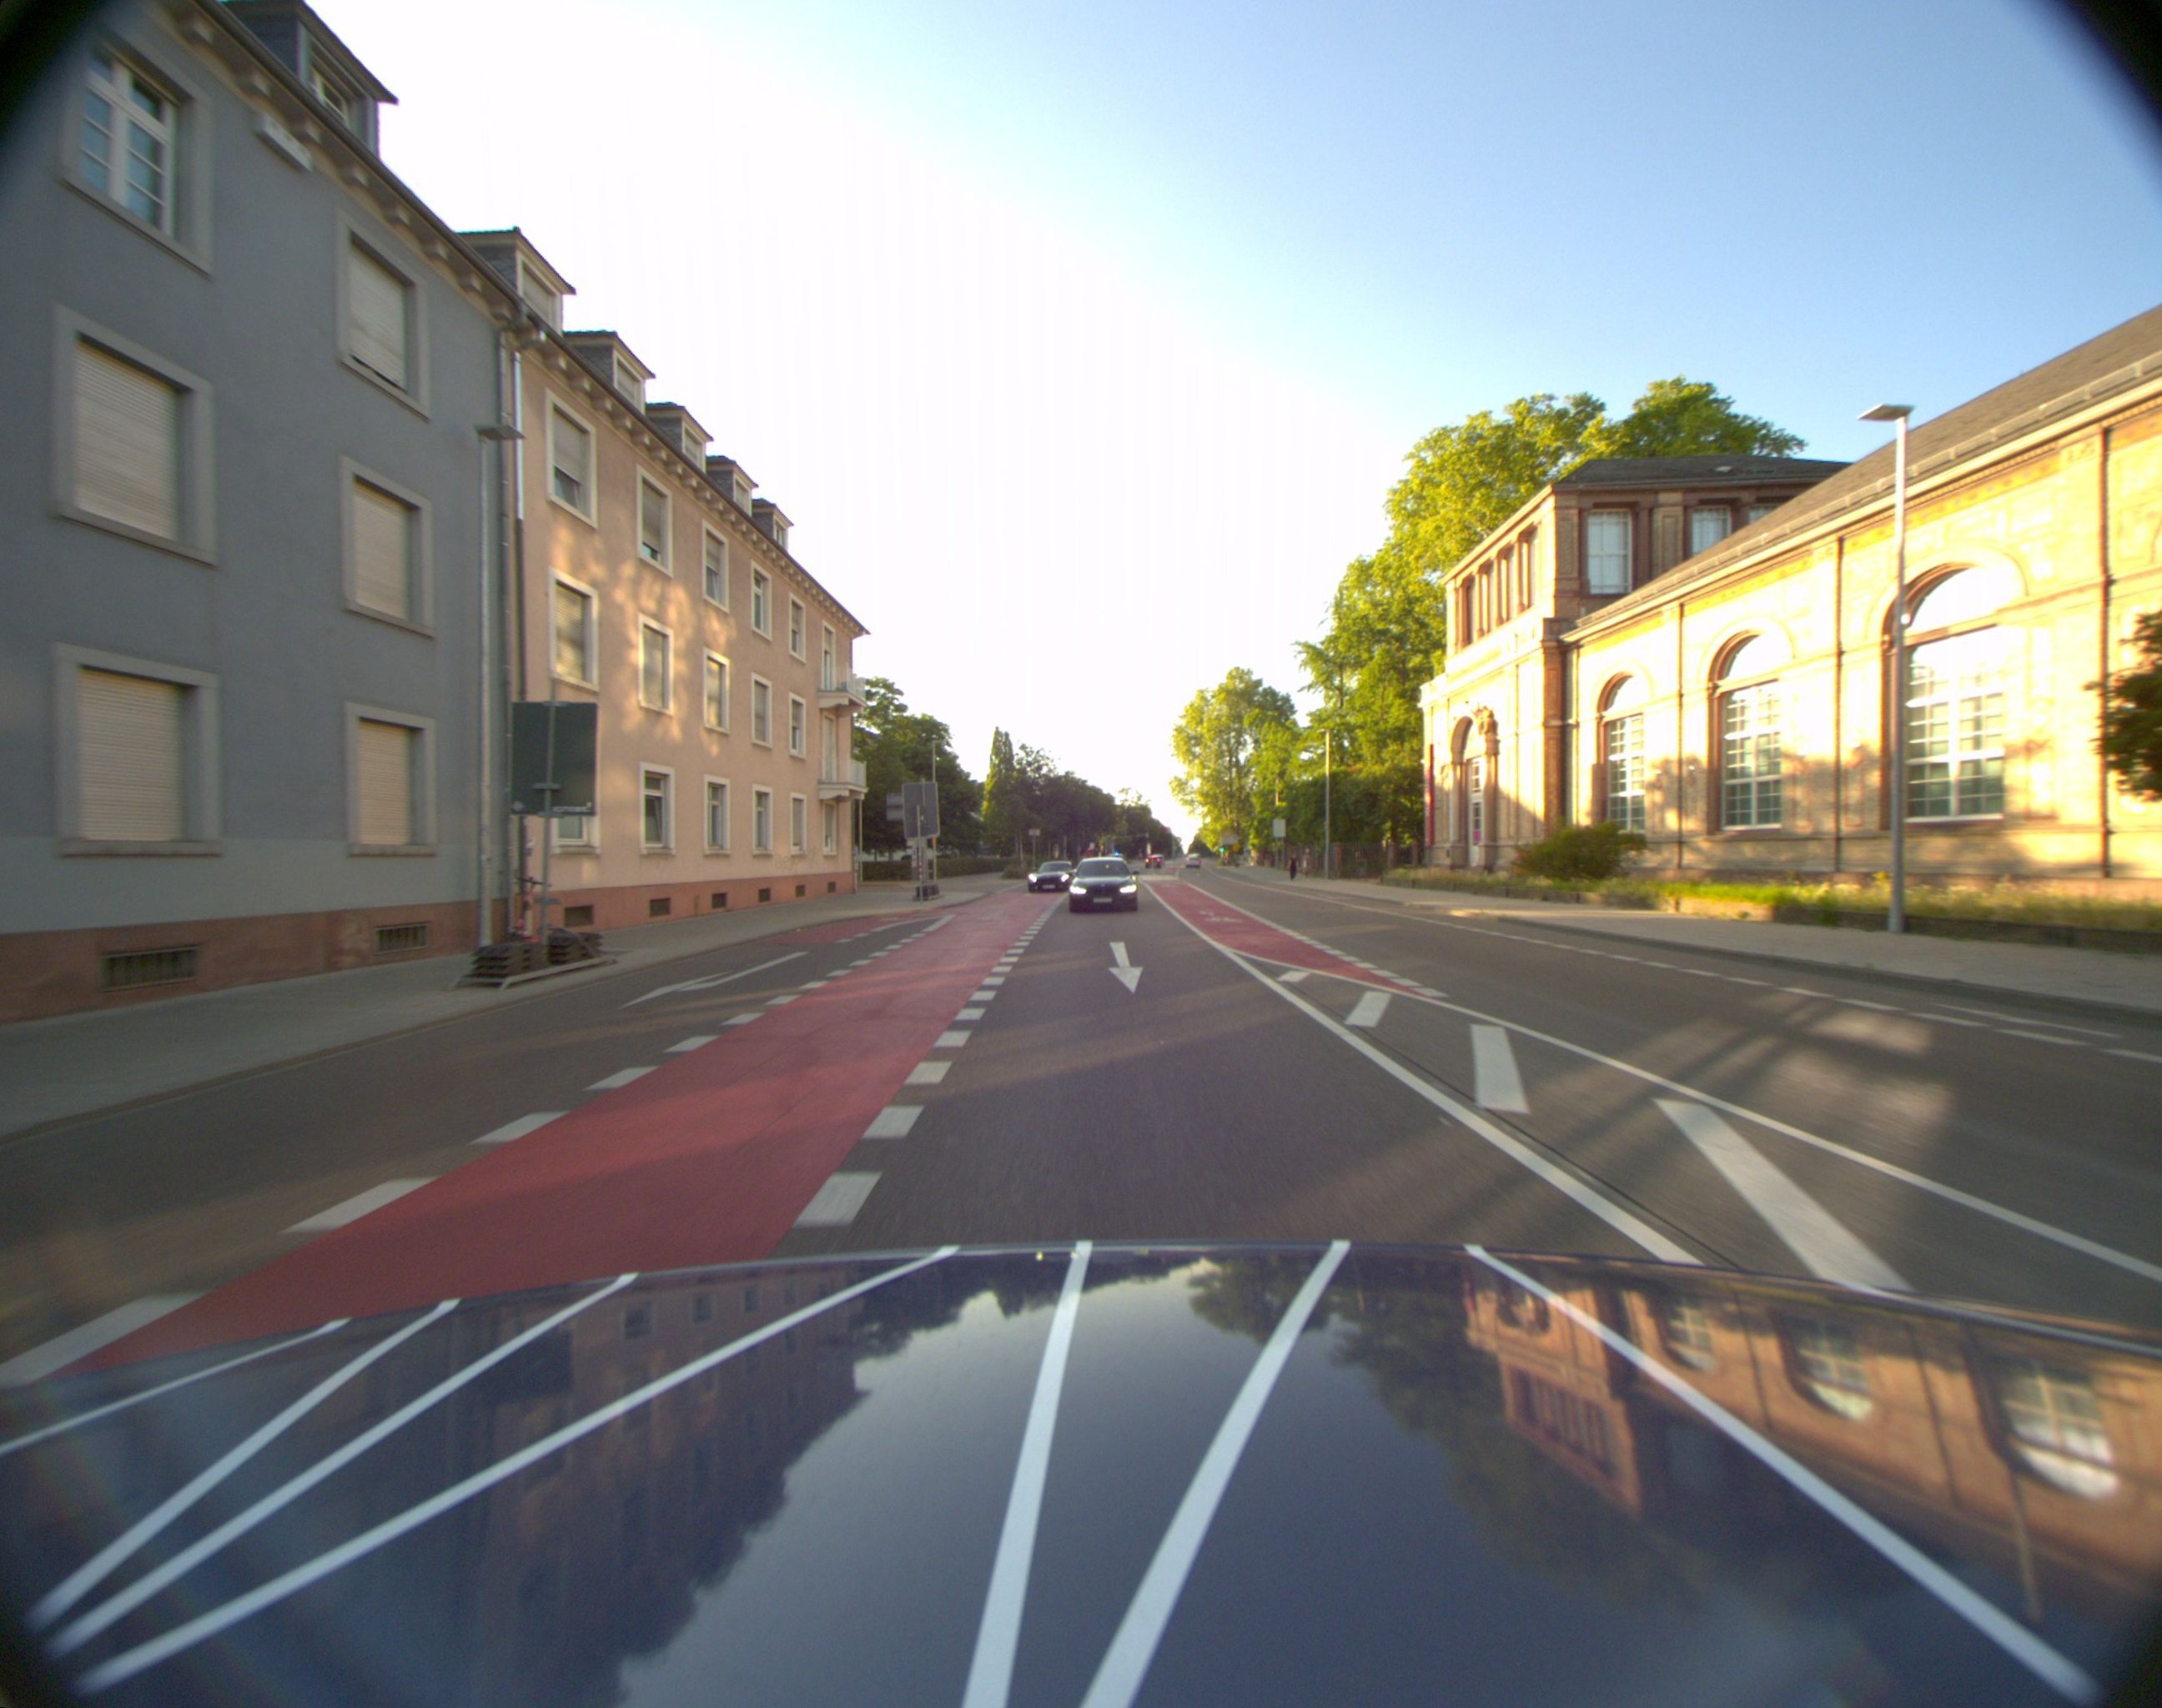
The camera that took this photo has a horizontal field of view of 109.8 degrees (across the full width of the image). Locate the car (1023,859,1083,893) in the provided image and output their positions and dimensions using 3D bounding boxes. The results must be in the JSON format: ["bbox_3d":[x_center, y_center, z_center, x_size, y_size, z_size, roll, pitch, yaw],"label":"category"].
[{"bbox_3d":[-1.145,0.923,33.791,2.183,1.293,4.358,-2,0,4],"label":"car"}]

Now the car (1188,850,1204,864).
[{"bbox_3d":[14.413,0.383,95.573,1.919,1.674,4.002,-1,0,7],"label":"car"}]

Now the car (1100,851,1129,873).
[{"bbox_3d":[2.740,0.646,62.902,1.839,1.674,4.221,-2,1,-4],"label":"car"}]

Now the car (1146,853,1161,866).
[{"bbox_3d":[8.636,0.689,90.810,1.775,1.455,4.001,1,0,5],"label":"car"}]

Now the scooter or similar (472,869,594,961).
[{"bbox_3d":[-9.507,1.014,13.265,0.726,1.450,1.673,2,1,10],"label":"scooter or similar"}]

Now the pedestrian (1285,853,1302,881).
[{"bbox_3d":[11.857,0.711,42.418,0.675,1.504,0.836,-4,-1,6],"label":"pedestrian"}]

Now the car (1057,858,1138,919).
[{"bbox_3d":[0.501,0.865,21.083,1.963,1.379,4.781,-1,1,2],"label":"car"}]

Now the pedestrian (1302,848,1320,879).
[{"bbox_3d":[12.783,0.526,42.264,0.807,1.728,0.851,0,1,25],"label":"pedestrian"}]
